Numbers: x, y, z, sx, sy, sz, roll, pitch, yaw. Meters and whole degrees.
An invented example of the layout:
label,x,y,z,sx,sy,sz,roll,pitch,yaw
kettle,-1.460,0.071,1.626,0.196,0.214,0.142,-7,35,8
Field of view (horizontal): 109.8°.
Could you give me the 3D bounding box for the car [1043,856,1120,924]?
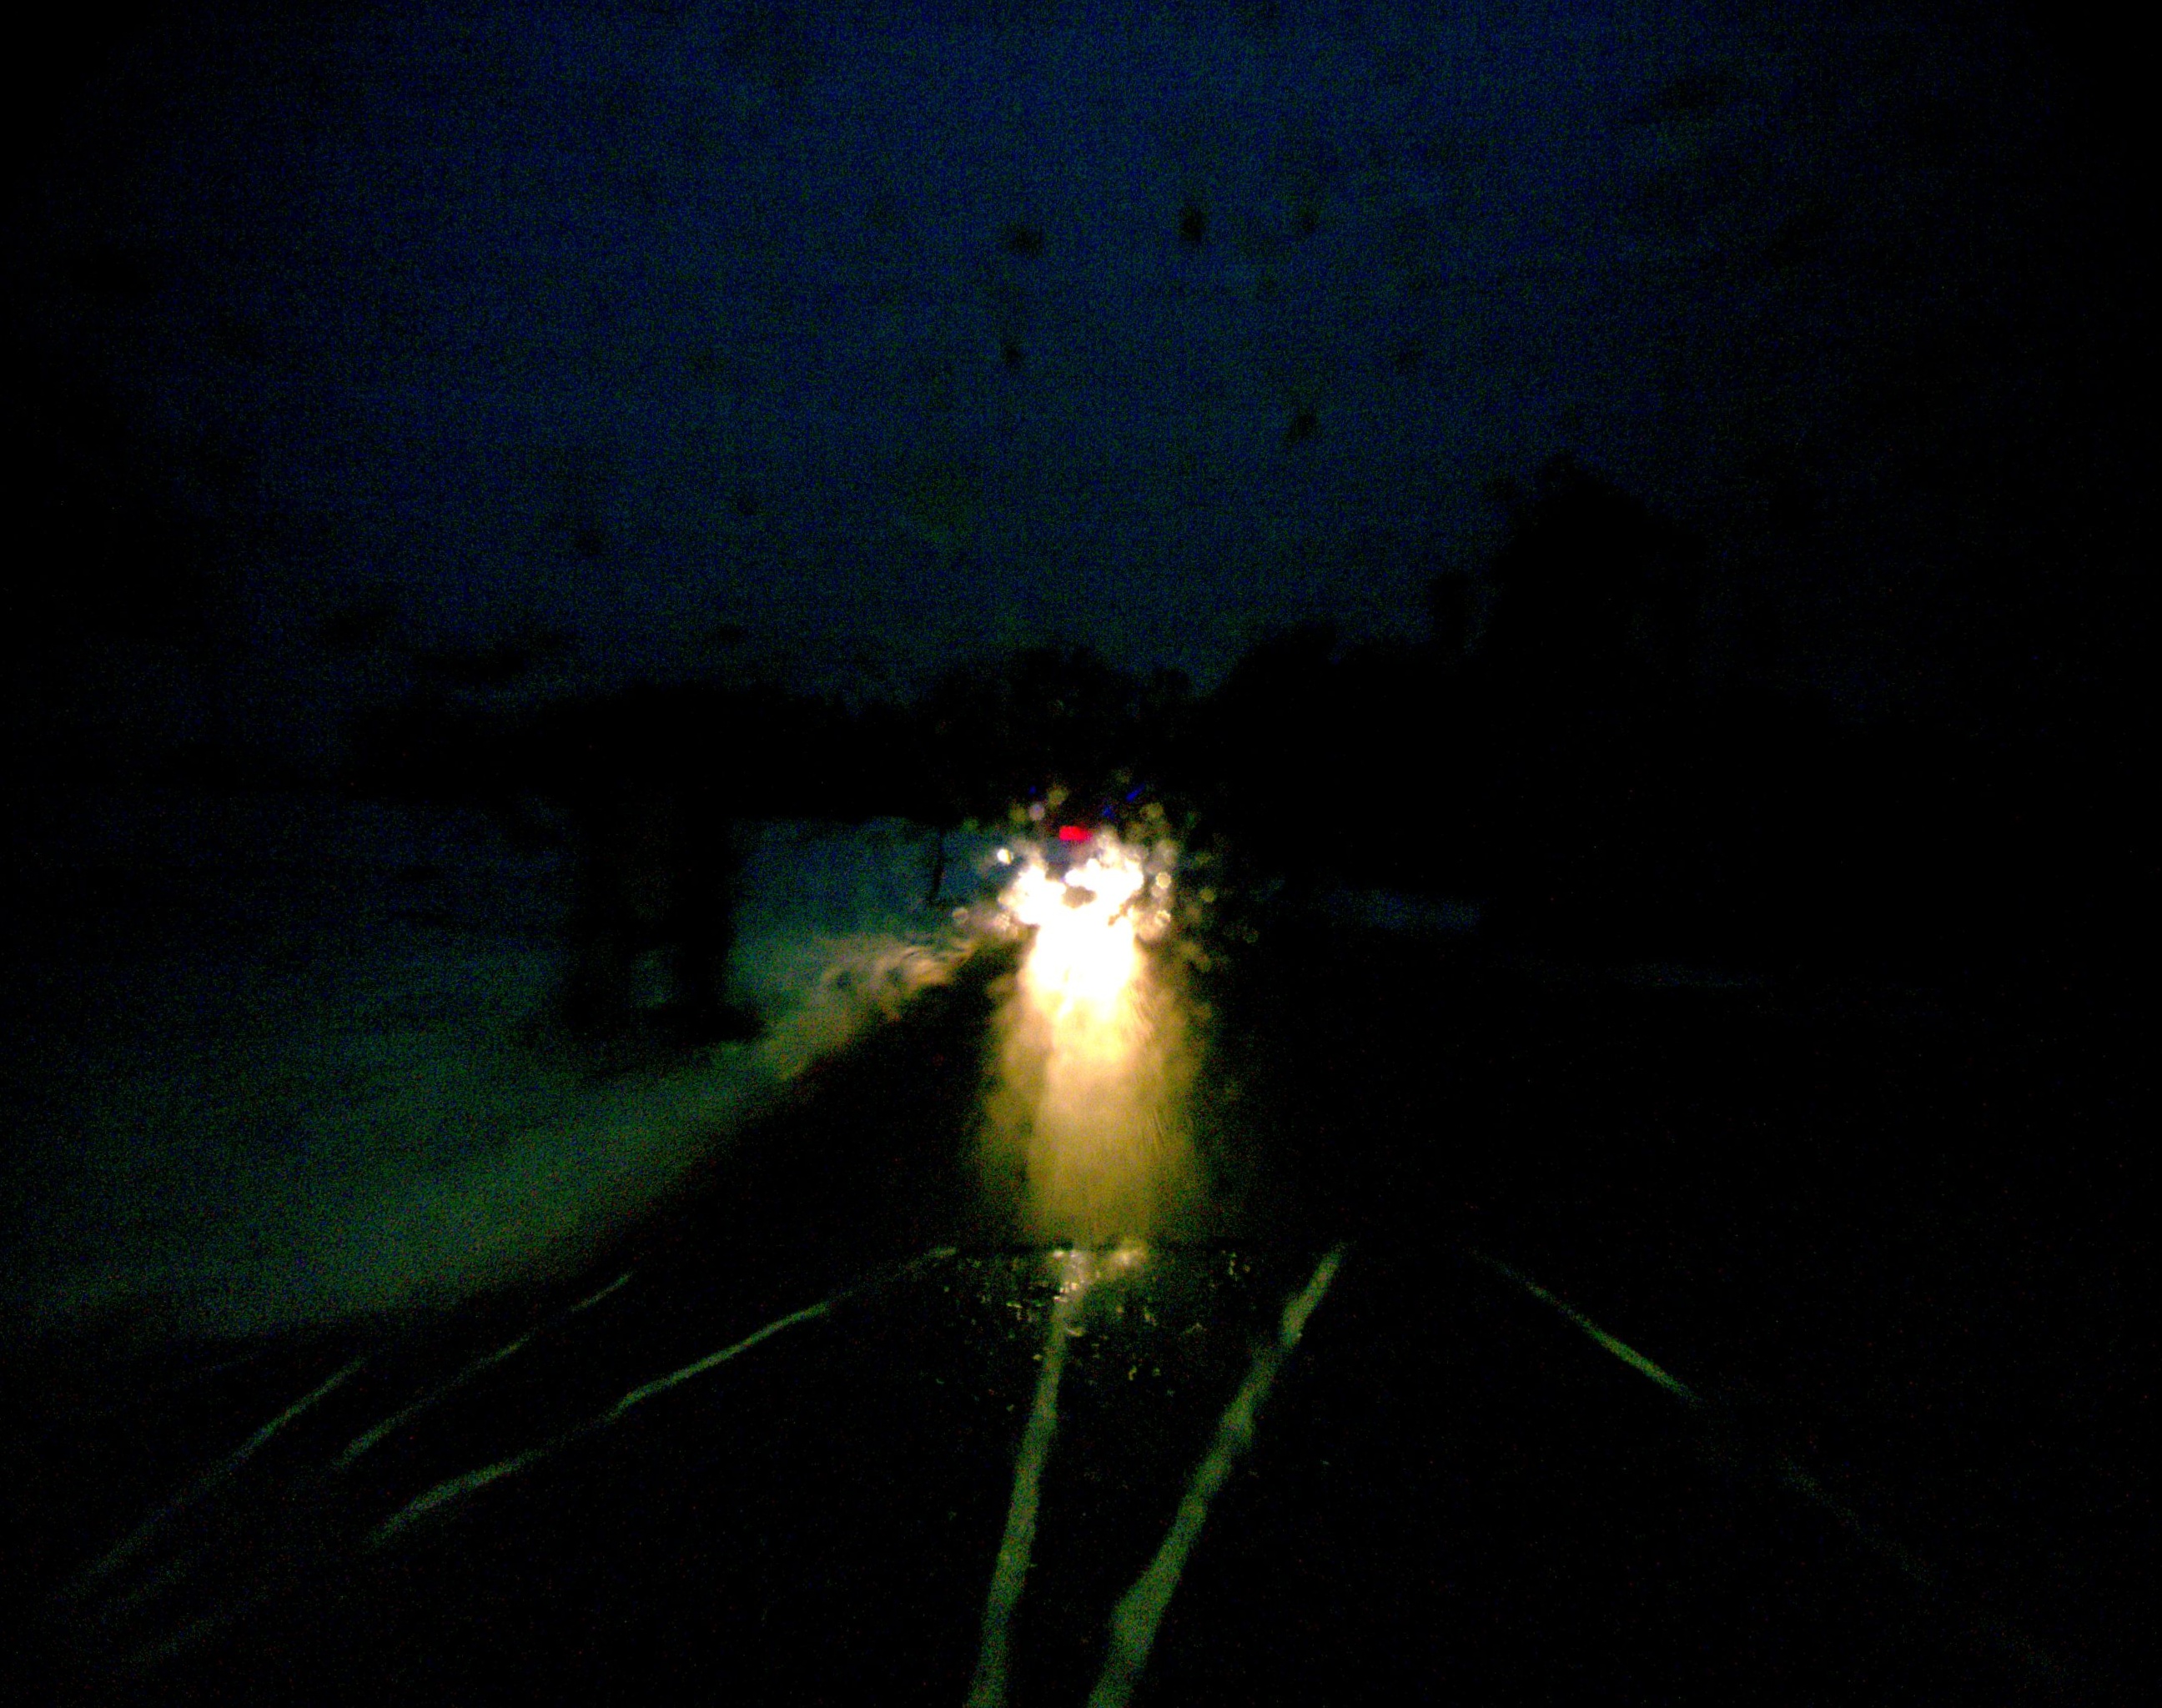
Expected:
label,x,y,z,sx,sy,sz,roll,pitch,yaw
car,0.052,0.815,18.584,1.649,1.446,3.681,-2,0,1
